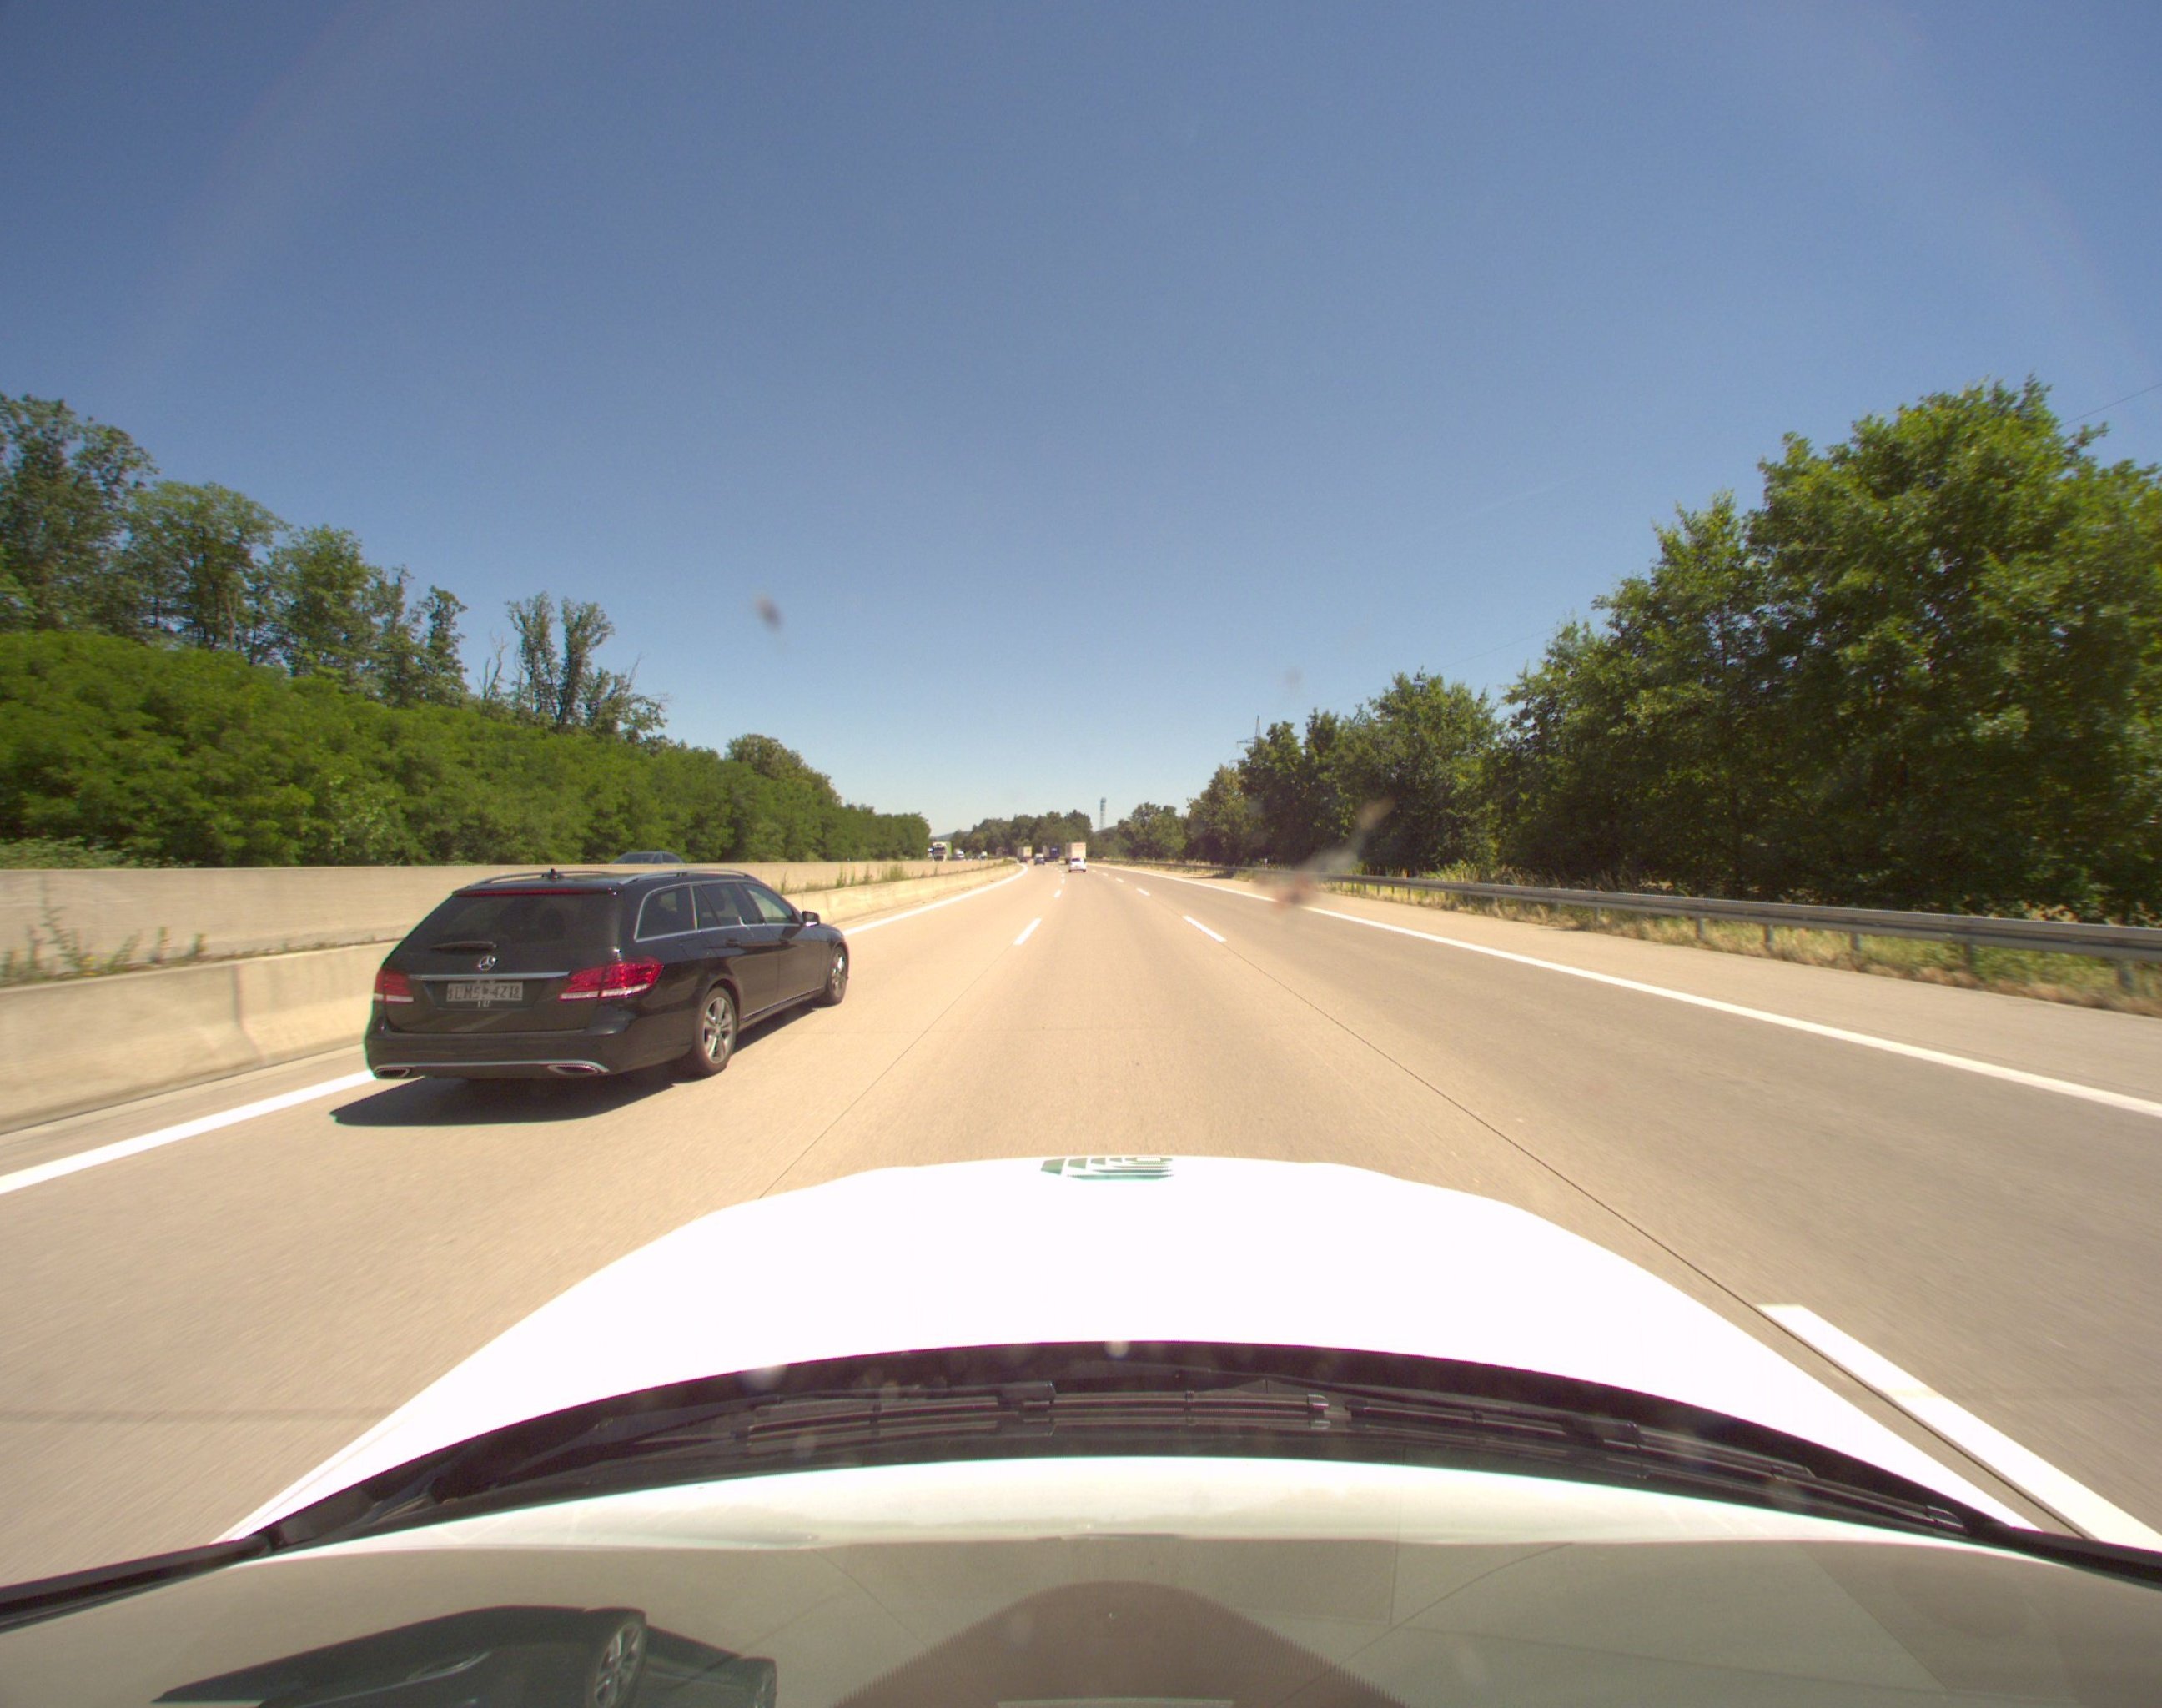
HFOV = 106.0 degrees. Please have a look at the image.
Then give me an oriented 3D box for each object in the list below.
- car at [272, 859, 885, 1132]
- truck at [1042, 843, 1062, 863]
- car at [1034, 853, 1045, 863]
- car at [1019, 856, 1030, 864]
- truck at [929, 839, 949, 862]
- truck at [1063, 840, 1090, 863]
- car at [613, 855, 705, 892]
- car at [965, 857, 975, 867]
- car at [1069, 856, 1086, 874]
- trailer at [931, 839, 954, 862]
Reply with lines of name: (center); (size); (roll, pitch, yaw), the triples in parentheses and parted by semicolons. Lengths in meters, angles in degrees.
car: (-3.494, 0.810, 7.360); (1.883, 1.473, 5.606); (-1, 0, 2)
truck: (-7.370, -0.131, 206.040); (3.903, 4.741, 14.017); (-1, 0, -6)
car: (-7.719, 0.700, 151.578); (1.610, 1.725, 3.562); (-1, 0, -9)
car: (-13.026, 1.376, 186.307); (2.022, 1.700, 3.987); (4, 0, -10)
truck: (-24.501, -0.605, 140.652); (2.659, 3.935, 5.961); (-1, 0, -3)
truck: (-0.891, -0.425, 151.265); (3.814, 3.889, 14.127); (-1, 0, -5)
car: (-16.236, 0.711, 31.527); (1.607, 1.326, 3.642); (1, 0, 1)
car: (-23.995, 1.653, 175.594); (1.858, 2.013, 3.995); (1, 0, -4)
car: (-0.361, 1.096, 83.041); (1.636, 1.662, 3.359); (4, 0, -1)
trailer: (-24.850, -0.627, 146.596); (2.676, 3.935, 13.229); (-1, 0, -3)
